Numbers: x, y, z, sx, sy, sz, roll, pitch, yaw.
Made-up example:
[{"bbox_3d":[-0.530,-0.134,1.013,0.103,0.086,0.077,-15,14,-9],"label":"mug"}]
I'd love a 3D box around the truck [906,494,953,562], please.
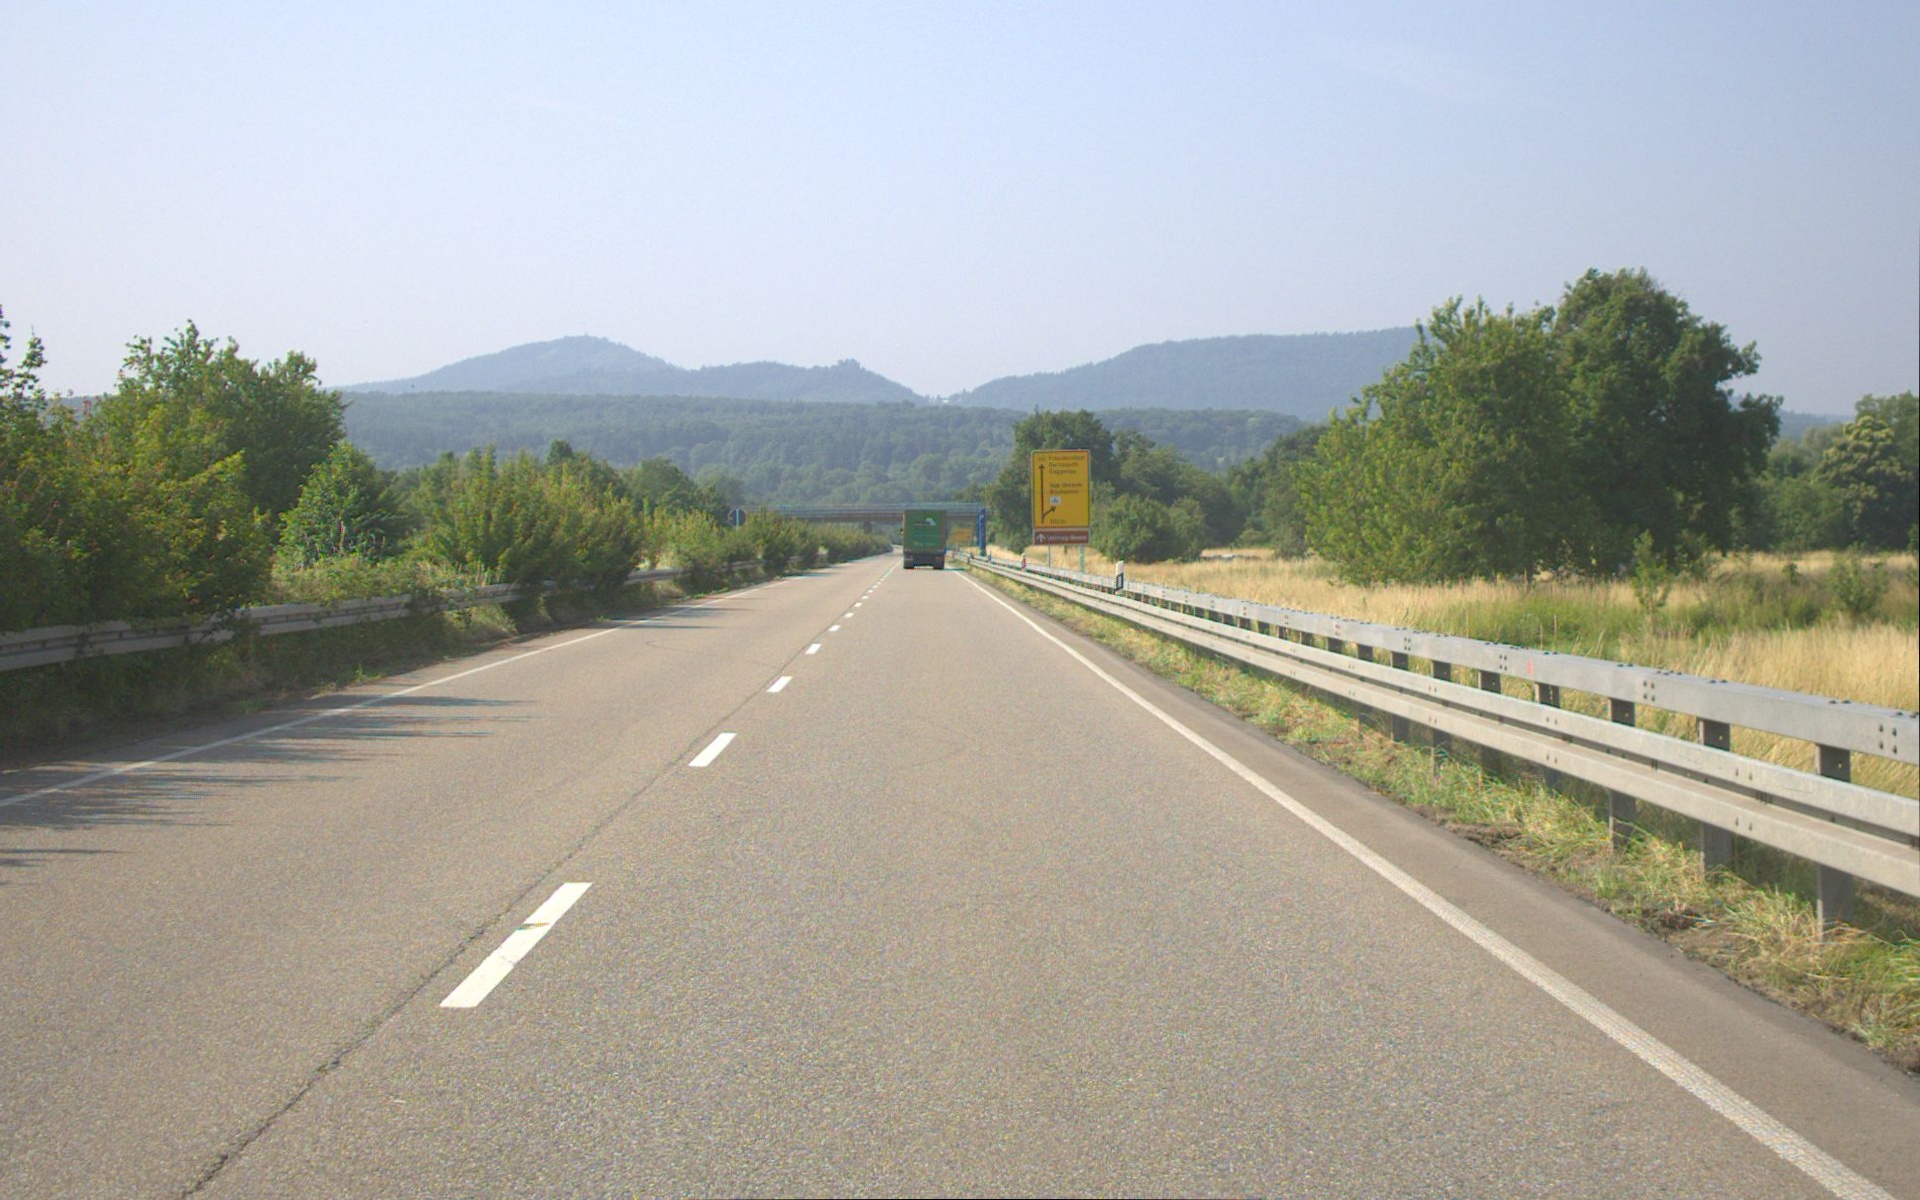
[{"bbox_3d":[-1.864,-4.485,211.596,2.722,3.952,10.417,2,2,0],"label":"truck"}]
